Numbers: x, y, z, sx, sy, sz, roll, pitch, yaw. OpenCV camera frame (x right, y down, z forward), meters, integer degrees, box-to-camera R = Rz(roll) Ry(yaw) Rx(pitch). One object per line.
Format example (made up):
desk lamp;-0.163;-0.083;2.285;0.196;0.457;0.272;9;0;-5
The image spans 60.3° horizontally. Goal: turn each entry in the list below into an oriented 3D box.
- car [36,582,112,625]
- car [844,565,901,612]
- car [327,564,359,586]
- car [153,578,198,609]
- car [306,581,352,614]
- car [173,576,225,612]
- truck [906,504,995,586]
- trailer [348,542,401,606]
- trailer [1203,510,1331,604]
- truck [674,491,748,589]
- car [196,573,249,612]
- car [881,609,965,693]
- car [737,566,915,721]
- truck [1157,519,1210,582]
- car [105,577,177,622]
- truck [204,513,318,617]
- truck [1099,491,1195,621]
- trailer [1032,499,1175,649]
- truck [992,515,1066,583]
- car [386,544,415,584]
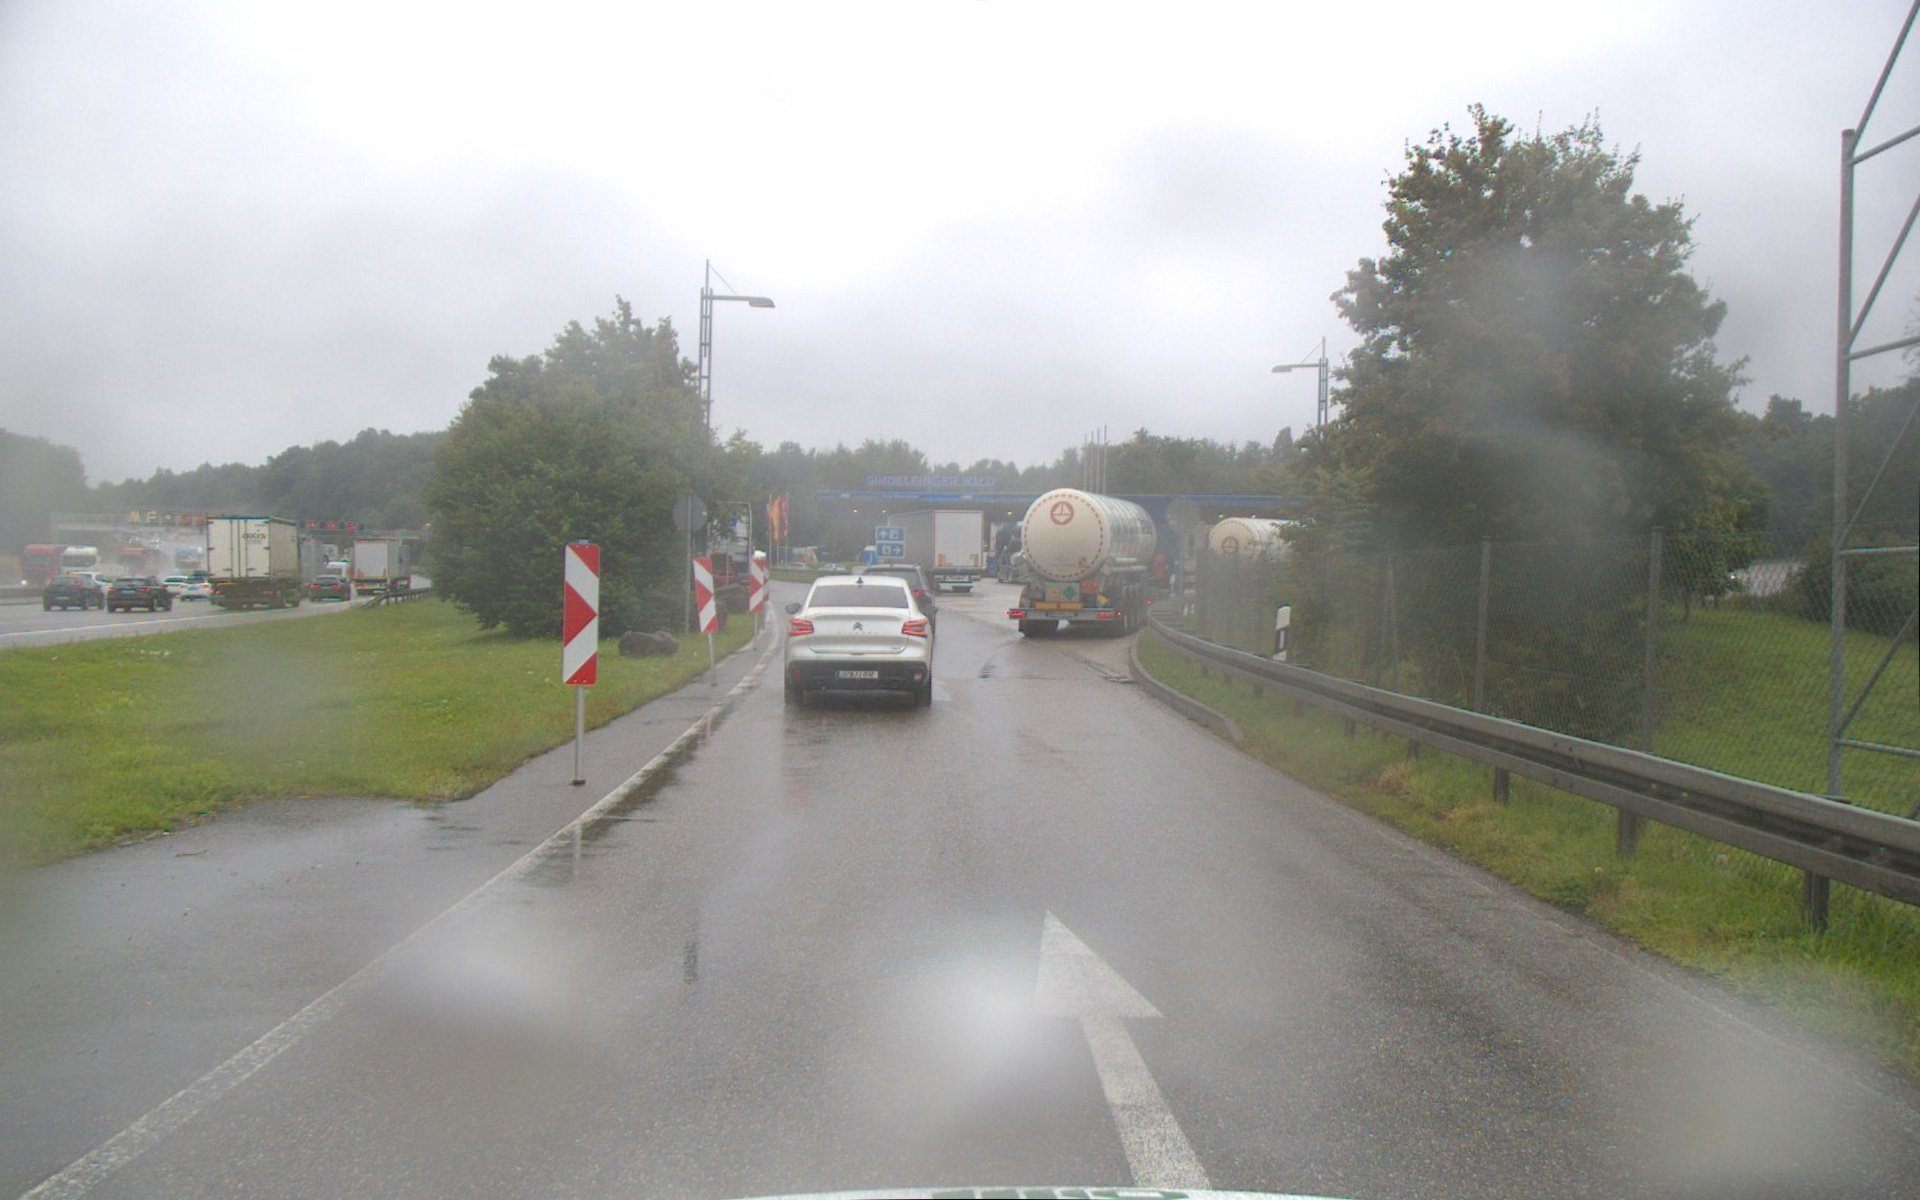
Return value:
car;-38.170;0.145;71.362;1.744;1.766;4.088;-1;1;-12
car;-3.054;-0.421;56.964;1.842;1.487;3.997;2;1;-4
car;-55.556;-2.243;149.041;1.958;1.847;3.989;3;0;-11
car;-53.182;-0.429;112.201;1.959;2.049;3.986;0;0;-13
car;-36.844;-0.177;96.628;1.959;1.847;3.986;2;0;-13
car;-45.652;-0.377;99.253;1.959;2.049;3.986;3;0;-13
truck;-0.664;-2.865;86.497;2.328;3.941;12.422;0;2;-11
trailer;-45.249;-1.930;128.173;3.493;4.693;12.058;0;0;-18
trailer;12.513;-1.723;66.531;2.090;3.500;10.239;1;2;28
truck;-10.697;-2.522;70.742;2.863;3.972;6.300;0;1;-11
car;-39.090;-0.396;87.753;1.758;2.006;4.319;1;0;-14
car;-0.800;1.102;37.152;1.707;1.696;3.999;3;-1;-1
car;-1.548;0.484;20.335;1.953;1.708;3.998;0;0;-2
truck;14.007;-3.134;103.769;2.379;3.871;3.995;0;2;-7
car;-33.288;-0.025;67.325;1.745;1.766;3.835;0;0;-12
truck;-31.741;-1.443;75.605;2.800;4.368;11.802;0;0;-13
truck;5.519;-1.282;48.275;2.009;3.592;4.750;1;1;15
trailer;3.812;-0.688;41.559;1.938;3.280;10.330;1;1;14
truck;4.437;-3.393;109.178;3.174;4.261;8.427;1;2;-9
car;-53.374;-3.420;157.841;2.335;3.546;4.791;4;-1;-18
